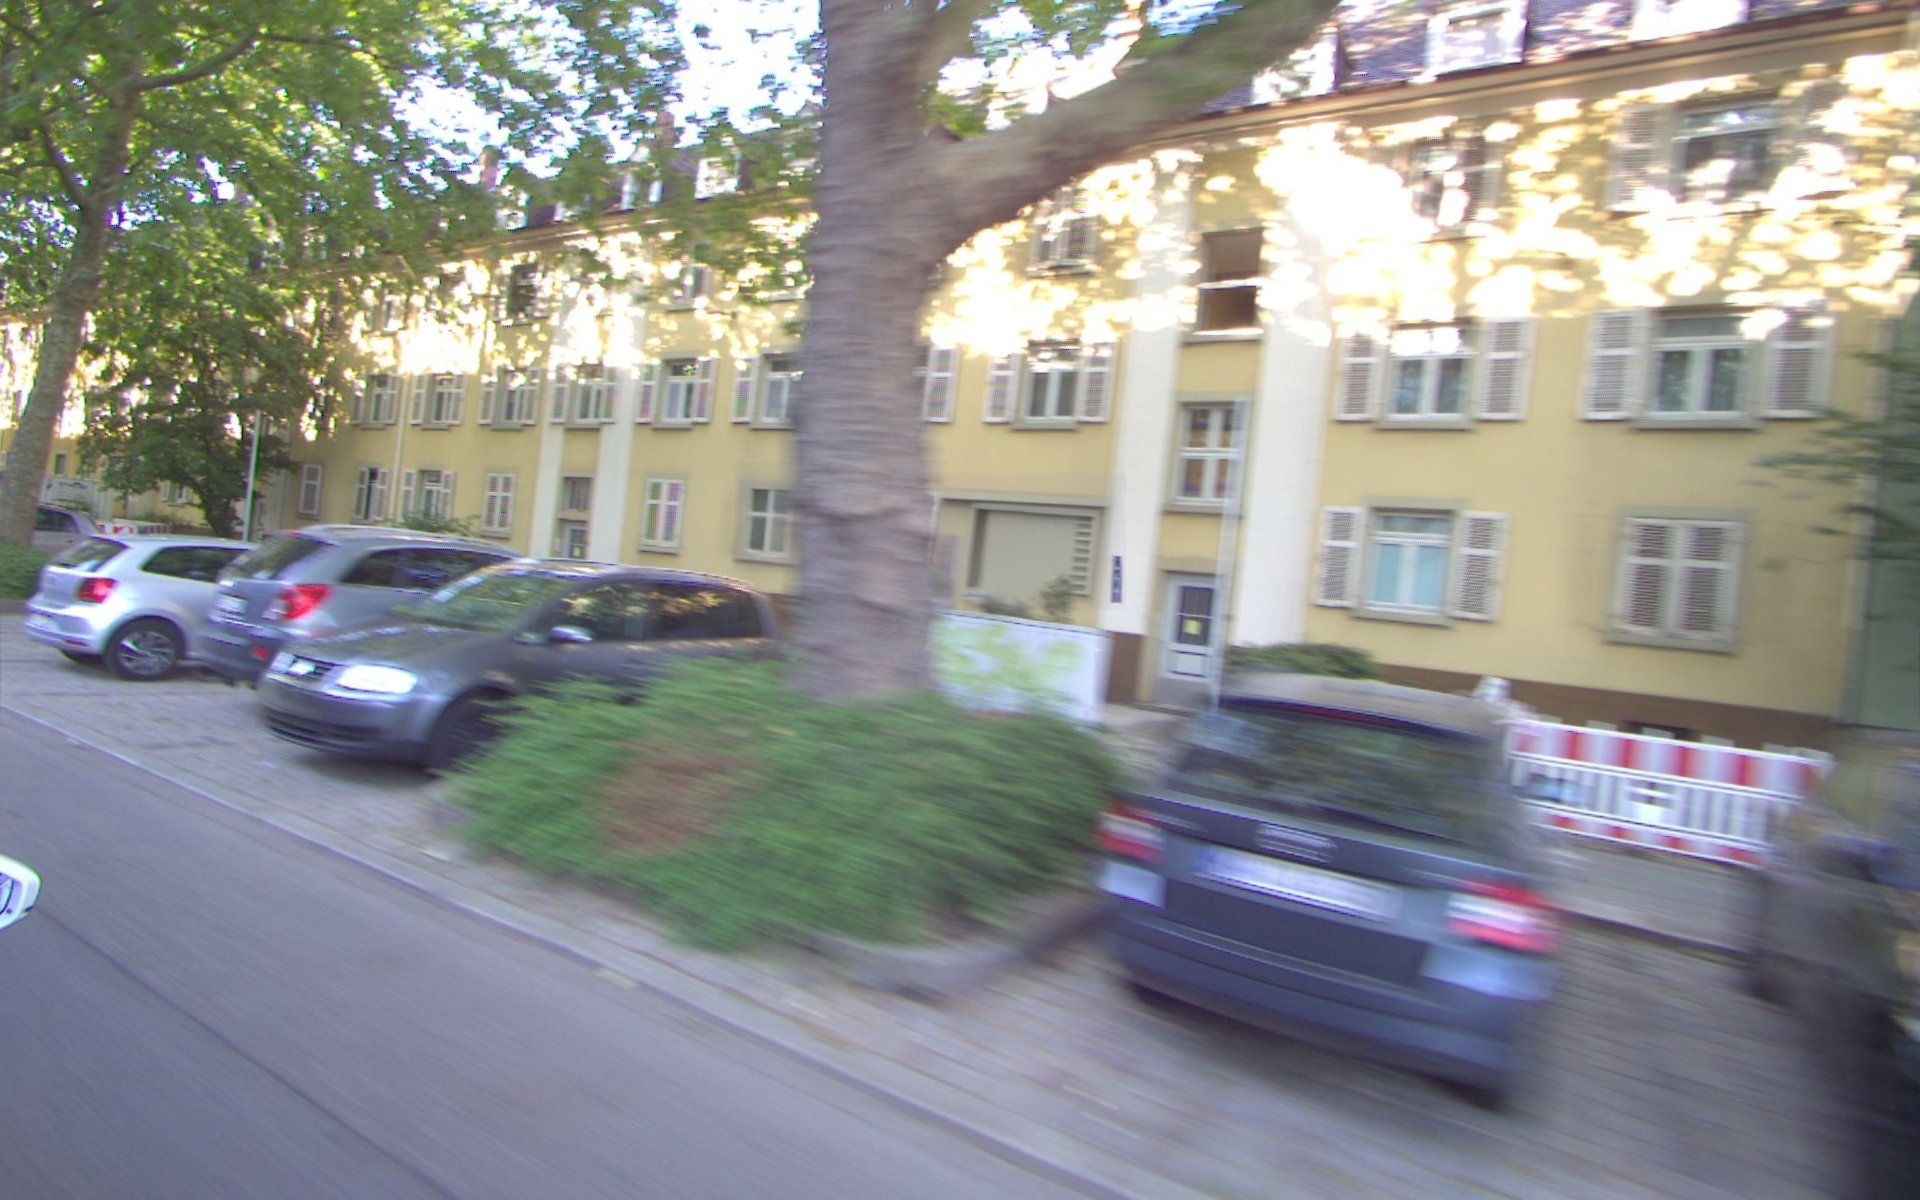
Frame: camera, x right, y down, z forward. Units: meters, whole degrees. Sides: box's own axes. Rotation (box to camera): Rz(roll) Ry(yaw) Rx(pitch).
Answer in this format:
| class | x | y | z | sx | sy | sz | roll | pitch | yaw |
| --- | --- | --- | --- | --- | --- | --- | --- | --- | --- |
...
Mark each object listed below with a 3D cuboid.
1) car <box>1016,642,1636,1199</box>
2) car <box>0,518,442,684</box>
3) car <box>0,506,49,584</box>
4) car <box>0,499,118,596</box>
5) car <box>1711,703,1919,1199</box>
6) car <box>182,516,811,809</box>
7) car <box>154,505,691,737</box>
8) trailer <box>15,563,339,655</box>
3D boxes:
| class | x | y | z | sx | sy | sz | roll | pitch | yaw |
| --- | --- | --- | --- | --- | --- | --- | --- | --- | --- |
| car | 1.936 | 1.089 | 4.892 | 1.711 | 1.516 | 3.887 | 7 | 0 | 28 |
| car | -8.153 | 0.078 | 11.285 | 1.835 | 1.442 | 3.654 | 7 | 0 | 32 |
| car | -19.769 | -1.219 | 18.800 | 1.707 | 1.444 | 3.659 | 6 | 0 | 28 |
| car | -17.519 | -1.049 | 17.428 | 1.800 | 1.569 | 4.081 | 6 | 0 | 31 |
| car | 4.299 | 1.356 | 3.801 | 1.788 | 1.542 | 4.404 | 7 | 1 | 32 |
| car | -3.430 | 0.461 | 8.424 | 1.876 | 1.678 | 4.431 | 6 | 0 | 30 |
| car | -5.054 | 0.241 | 10.073 | 1.811 | 1.753 | 4.308 | 6 | 0 | 35 |
| trailer | -10.030 | 0.156 | 13.035 | 1.415 | 0.914 | 3.037 | 6 | 0 | 38 |
